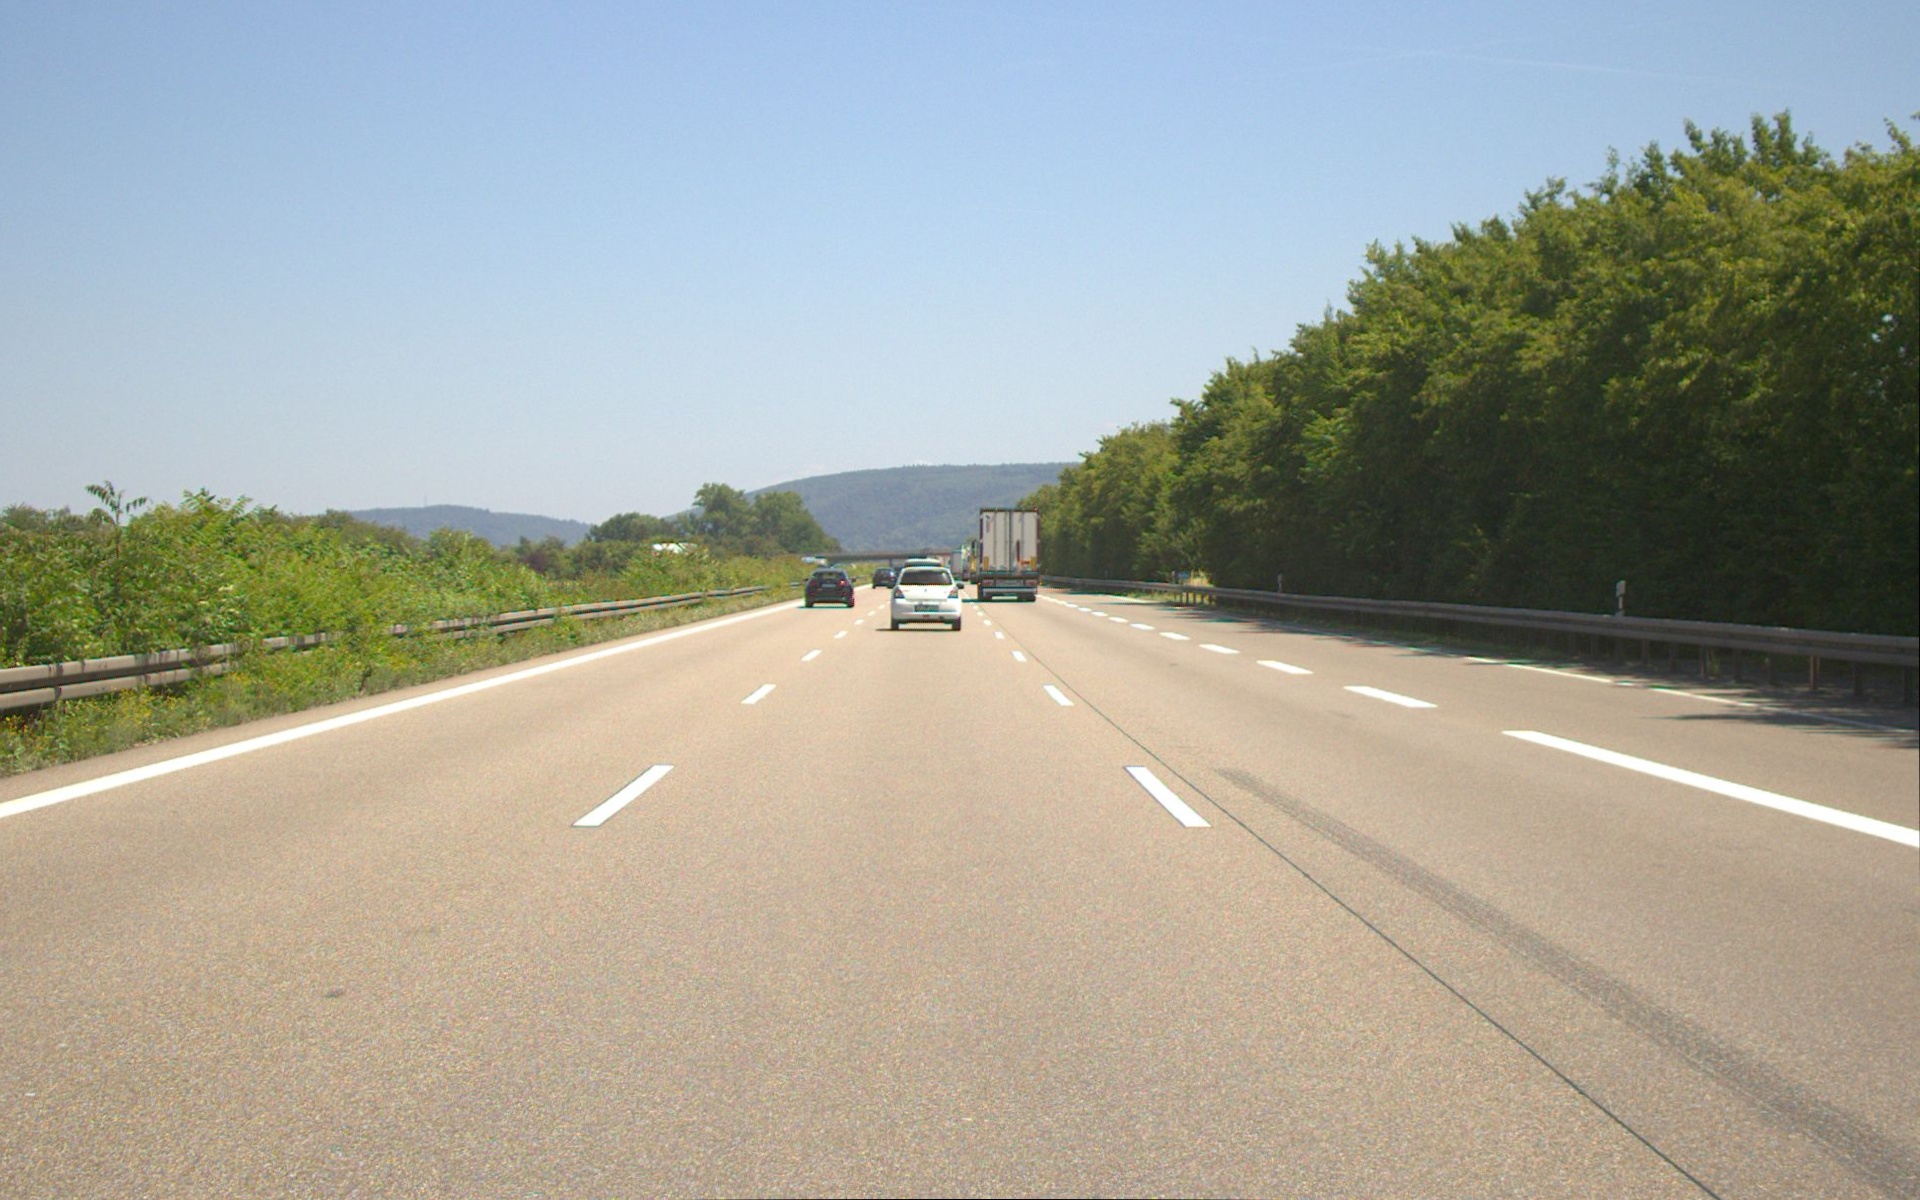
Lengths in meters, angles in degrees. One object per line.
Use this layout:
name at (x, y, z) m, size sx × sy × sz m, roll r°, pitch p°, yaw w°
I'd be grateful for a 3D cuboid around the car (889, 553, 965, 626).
car at (-0.815, -0.261, 82.502) m, size 1.732 × 1.678 × 4.000 m, roll -1°, pitch 1°, yaw -1°

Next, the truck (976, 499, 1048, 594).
truck at (2.491, -2.512, 162.128) m, size 3.218 × 4.330 × 6.590 m, roll 1°, pitch 0°, yaw 2°

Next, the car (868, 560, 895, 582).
car at (-5.487, -2.006, 240.312) m, size 1.795 × 1.545 × 4.000 m, roll 0°, pitch 0°, yaw -1°

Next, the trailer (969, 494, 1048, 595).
trailer at (2.260, -2.452, 154.953) m, size 3.218 × 4.330 × 13.628 m, roll 1°, pitch 0°, yaw 2°

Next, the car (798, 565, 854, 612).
car at (-4.993, -0.440, 128.296) m, size 1.993 × 1.706 × 4.000 m, roll 1°, pitch 0°, yaw -1°
